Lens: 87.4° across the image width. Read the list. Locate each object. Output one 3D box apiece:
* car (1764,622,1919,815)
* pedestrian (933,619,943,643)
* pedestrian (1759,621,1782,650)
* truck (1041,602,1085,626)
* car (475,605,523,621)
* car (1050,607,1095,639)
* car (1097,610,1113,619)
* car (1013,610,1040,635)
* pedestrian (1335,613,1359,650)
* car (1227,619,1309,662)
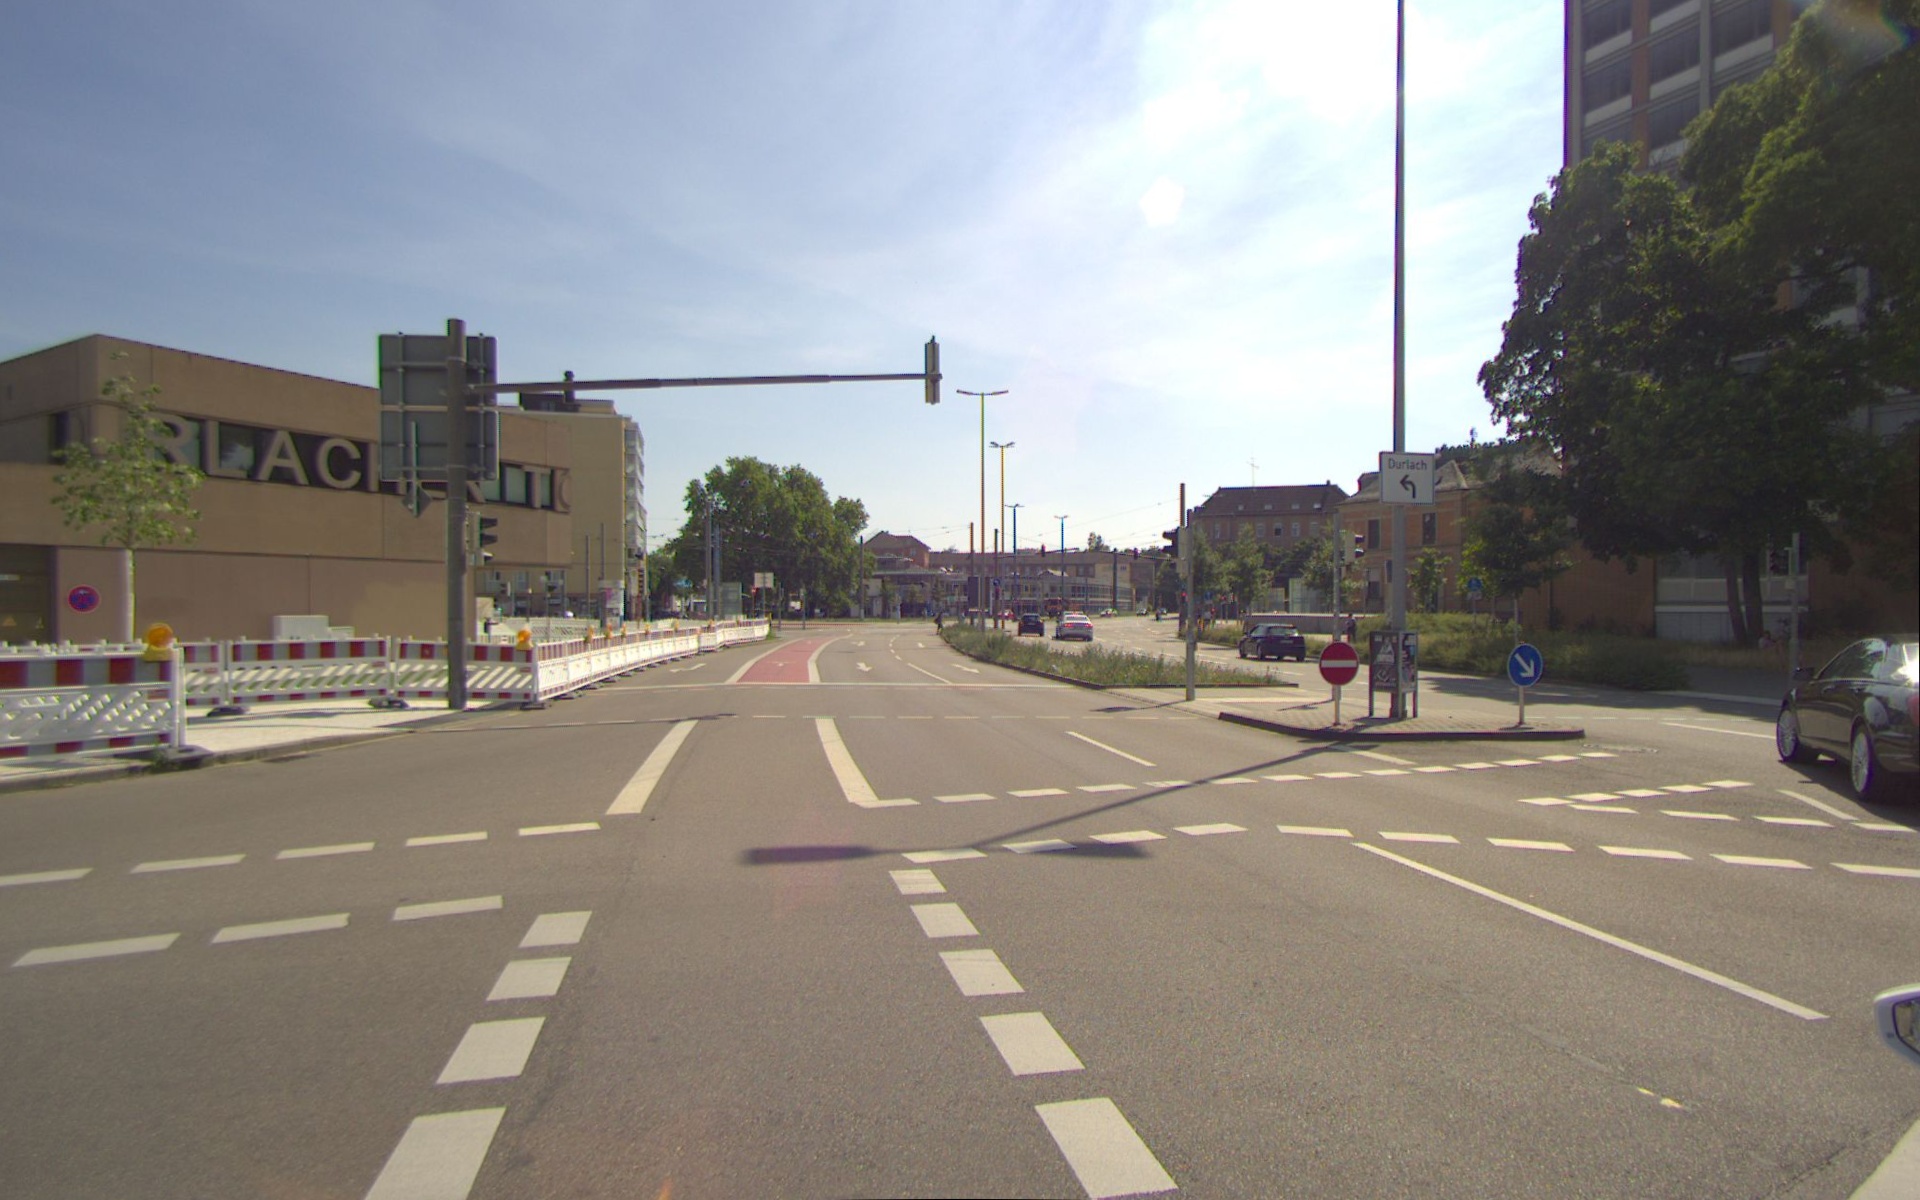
[{"bbox_3d":[9.460,0.995,9.756,1.831,1.550,4.705,-1,-2,30],"label":"car"},{"bbox_3d":[-1.550,2.145,70.237,0.637,1.683,0.663,1,0,-4],"label":"pedestrian"},{"bbox_3d":[25.578,1.130,31.715,0.387,0.903,0.428,0,0,-17],"label":"pedestrian"},{"bbox_3d":[16.688,2.213,162.262,3.030,3.780,7.885,0,-1,42],"label":"truck"},{"bbox_3d":[-46.255,1.327,100.793,1.772,1.530,3.984,0,-1,37],"label":"car"},{"bbox_3d":[6.485,1.311,58.346,1.961,1.840,3.998,0,0,-3],"label":"car"},{"bbox_3d":[25.659,2.548,177.446,1.766,1.530,3.998,0,-1,24],"label":"car"},{"bbox_3d":[4.386,1.449,65.866,1.764,1.530,4.002,0,-1,4],"label":"car"},{"bbox_3d":[18.774,1.513,48.721,0.857,1.748,0.799,0,0,-3],"label":"pedestrian"},{"bbox_3d":[12.000,1.560,39.444,1.765,1.530,3.998,1,-1,-4],"label":"car"}]
